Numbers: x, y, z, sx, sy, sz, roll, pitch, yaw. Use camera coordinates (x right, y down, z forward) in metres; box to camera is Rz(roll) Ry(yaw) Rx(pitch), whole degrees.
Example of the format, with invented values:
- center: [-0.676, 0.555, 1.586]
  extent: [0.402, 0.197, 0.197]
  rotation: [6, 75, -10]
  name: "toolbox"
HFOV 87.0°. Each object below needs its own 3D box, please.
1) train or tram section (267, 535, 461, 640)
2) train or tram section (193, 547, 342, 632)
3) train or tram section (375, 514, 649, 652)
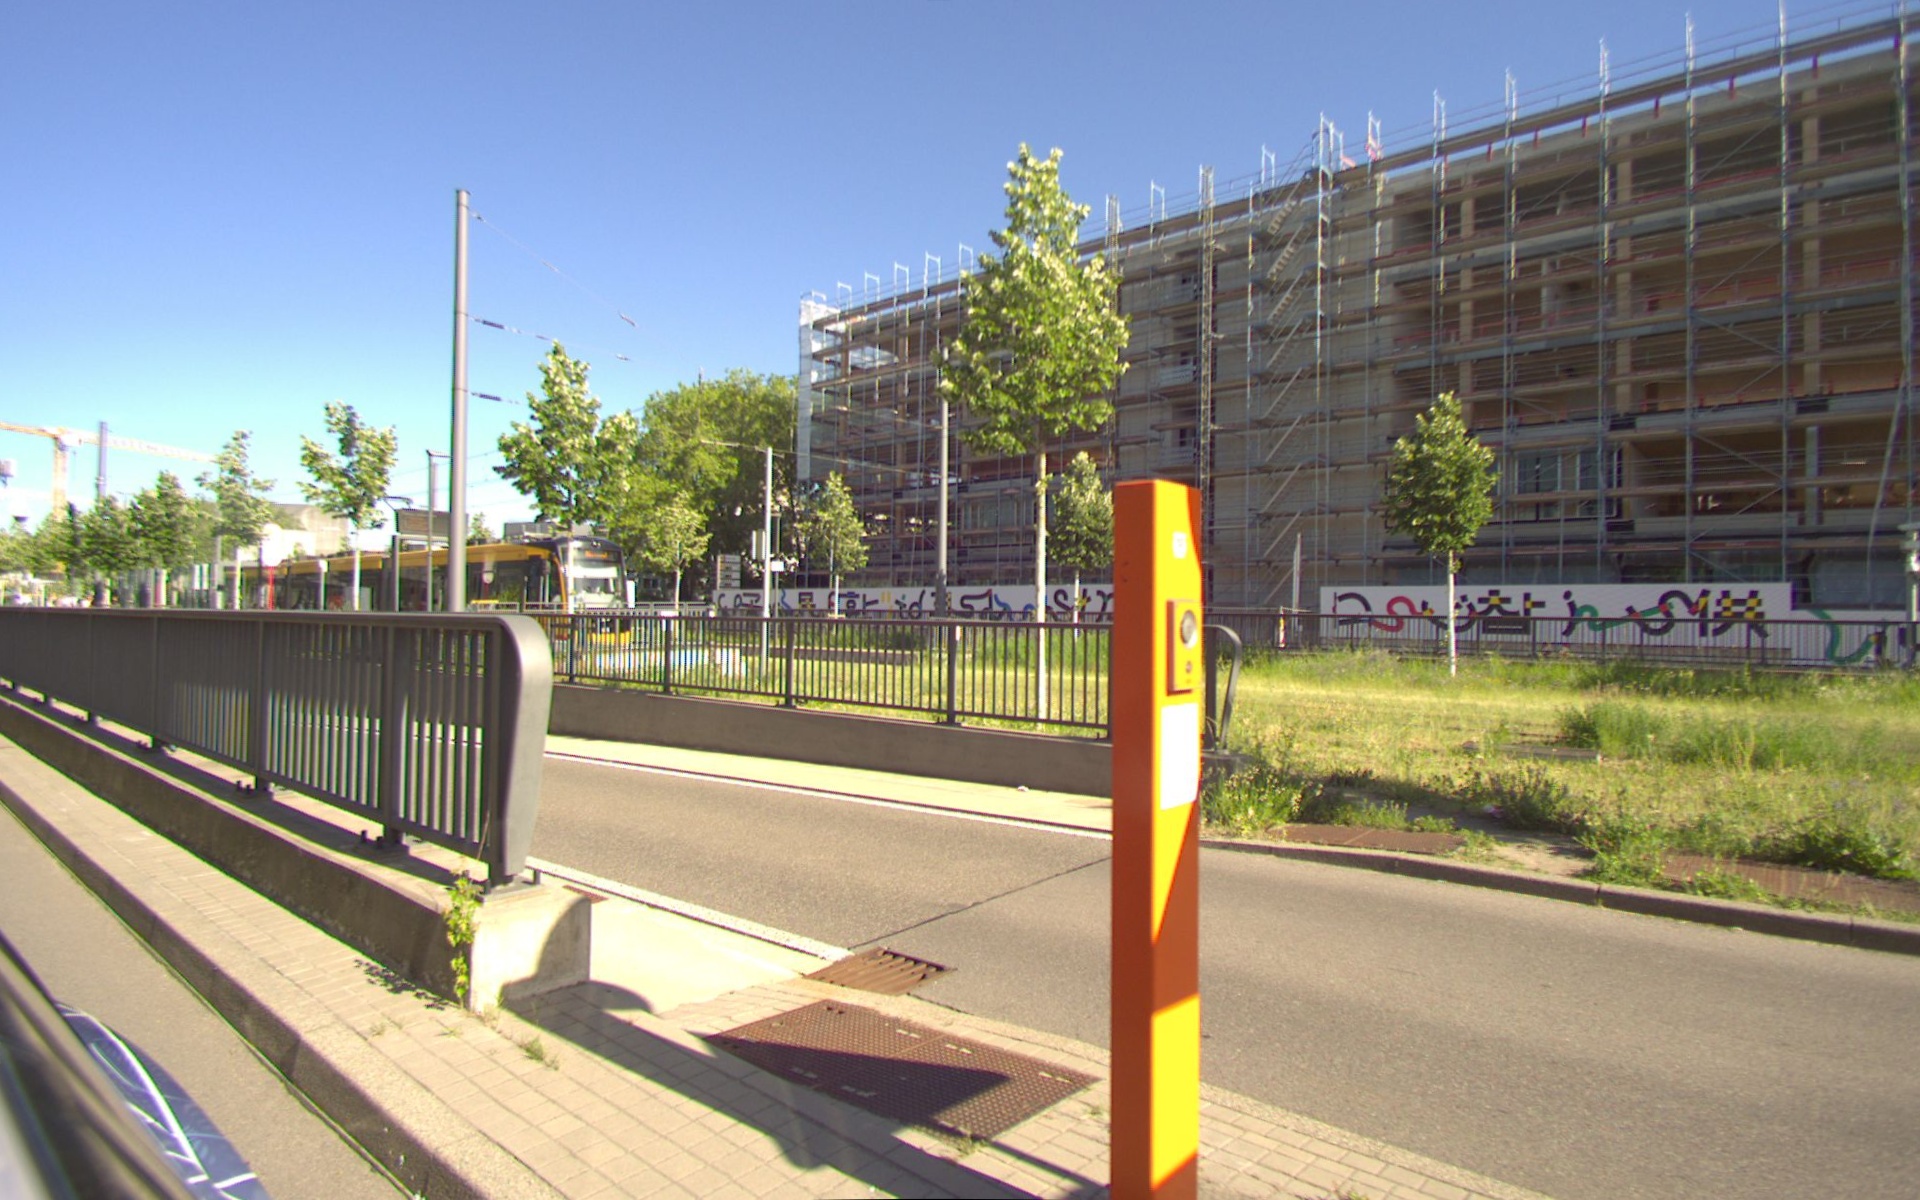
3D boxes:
- center: [-24.276, -0.378, 40.699]
  extent: [12.783, 3.666, 2.786]
  rotation: [0, -2, 41]
  name: "train or tram section"
- center: [-33.868, -0.390, 49.148]
  extent: [12.783, 3.666, 2.786]
  rotation: [0, -2, 41]
  name: "train or tram section"
- center: [-14.683, -0.401, 32.232]
  extent: [12.783, 3.666, 2.786]
  rotation: [0, -2, 41]
  name: "train or tram section"
